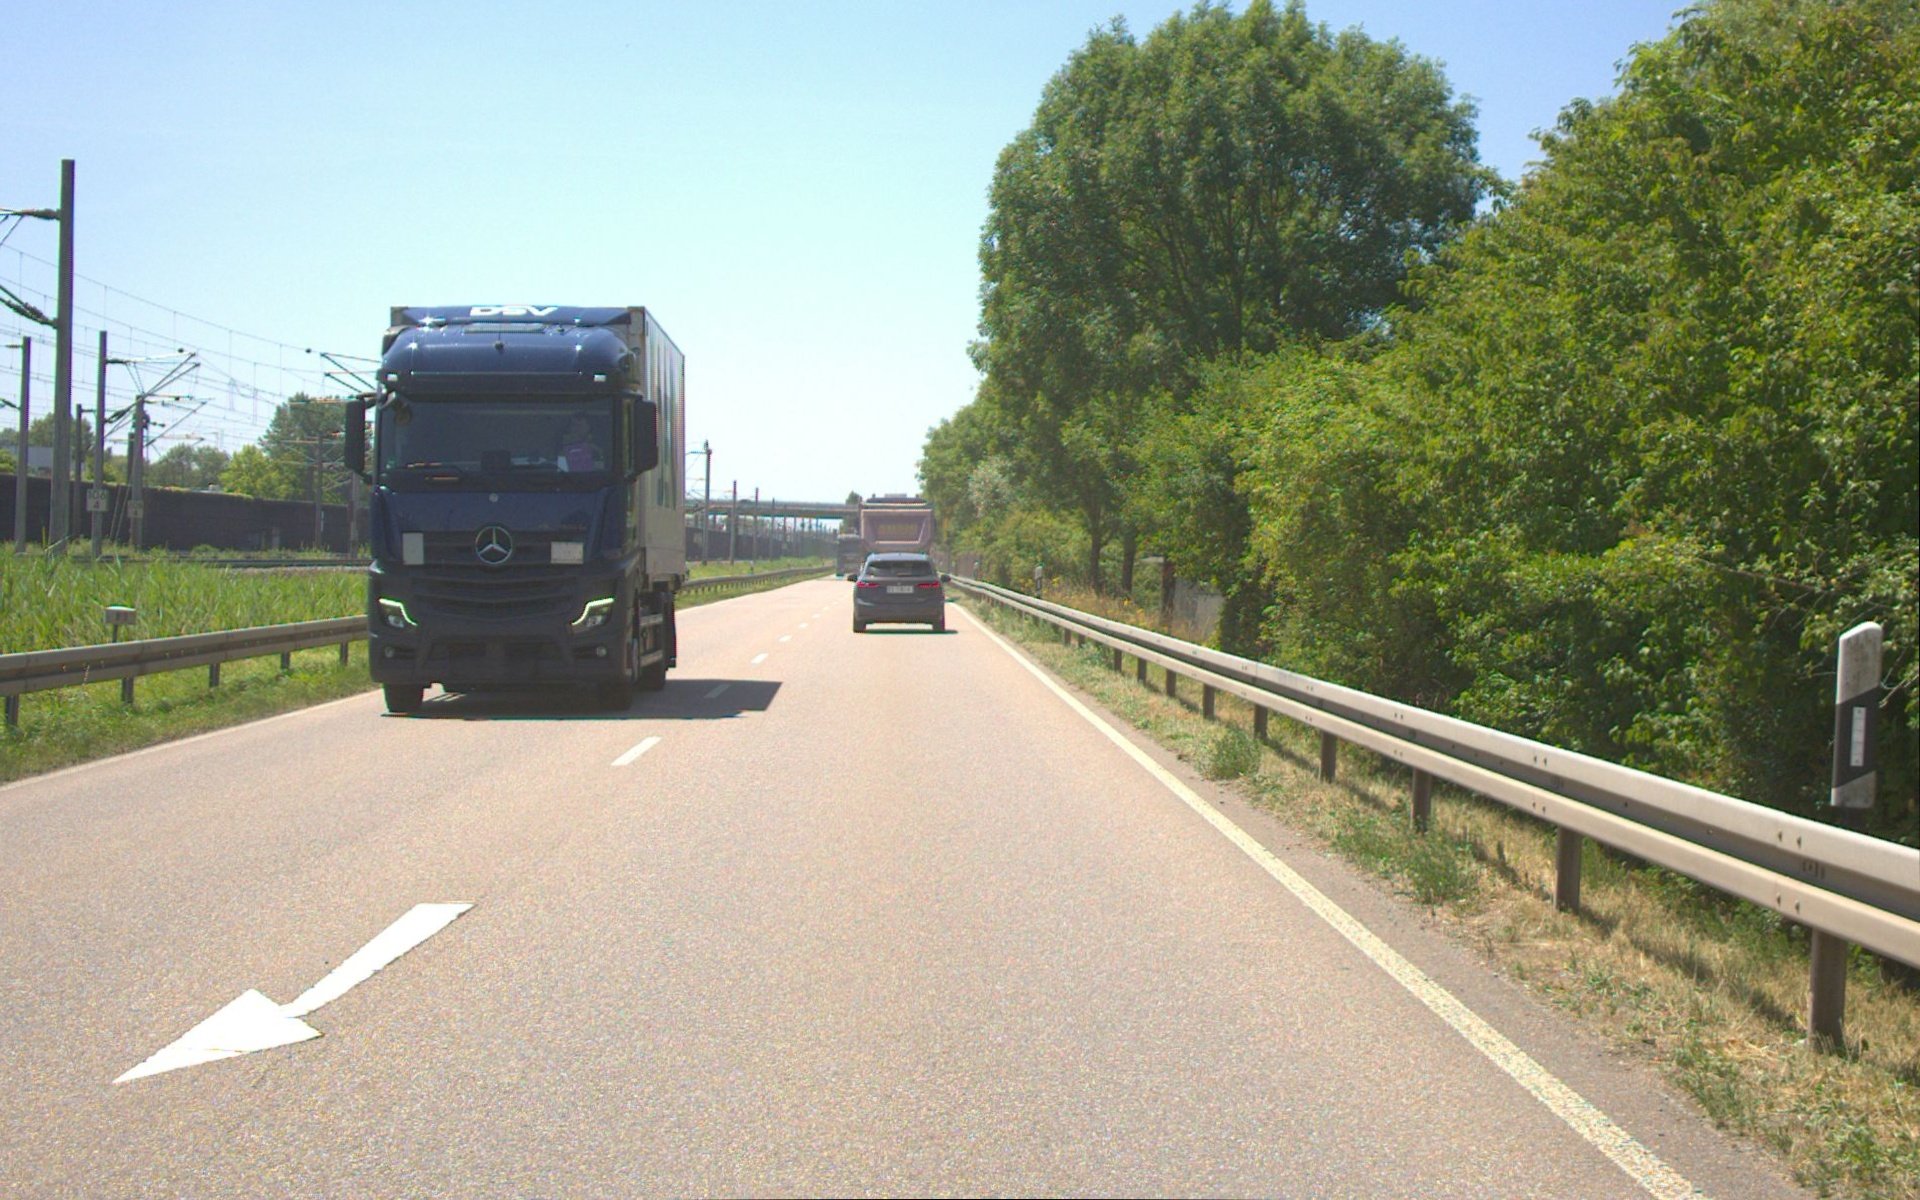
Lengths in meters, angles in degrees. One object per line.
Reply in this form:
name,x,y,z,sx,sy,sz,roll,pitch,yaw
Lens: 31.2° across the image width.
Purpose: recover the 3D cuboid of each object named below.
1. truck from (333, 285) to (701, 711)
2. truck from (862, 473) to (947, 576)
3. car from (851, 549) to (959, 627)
truck,-4.542,-1.045,37.438,2.797,3.964,10.501,0,1,-1
truck,-1.941,-2.571,119.910,2.770,3.414,10.820,1,1,-1
car,-1.121,-0.262,68.281,1.993,1.503,4.001,0,1,-3
